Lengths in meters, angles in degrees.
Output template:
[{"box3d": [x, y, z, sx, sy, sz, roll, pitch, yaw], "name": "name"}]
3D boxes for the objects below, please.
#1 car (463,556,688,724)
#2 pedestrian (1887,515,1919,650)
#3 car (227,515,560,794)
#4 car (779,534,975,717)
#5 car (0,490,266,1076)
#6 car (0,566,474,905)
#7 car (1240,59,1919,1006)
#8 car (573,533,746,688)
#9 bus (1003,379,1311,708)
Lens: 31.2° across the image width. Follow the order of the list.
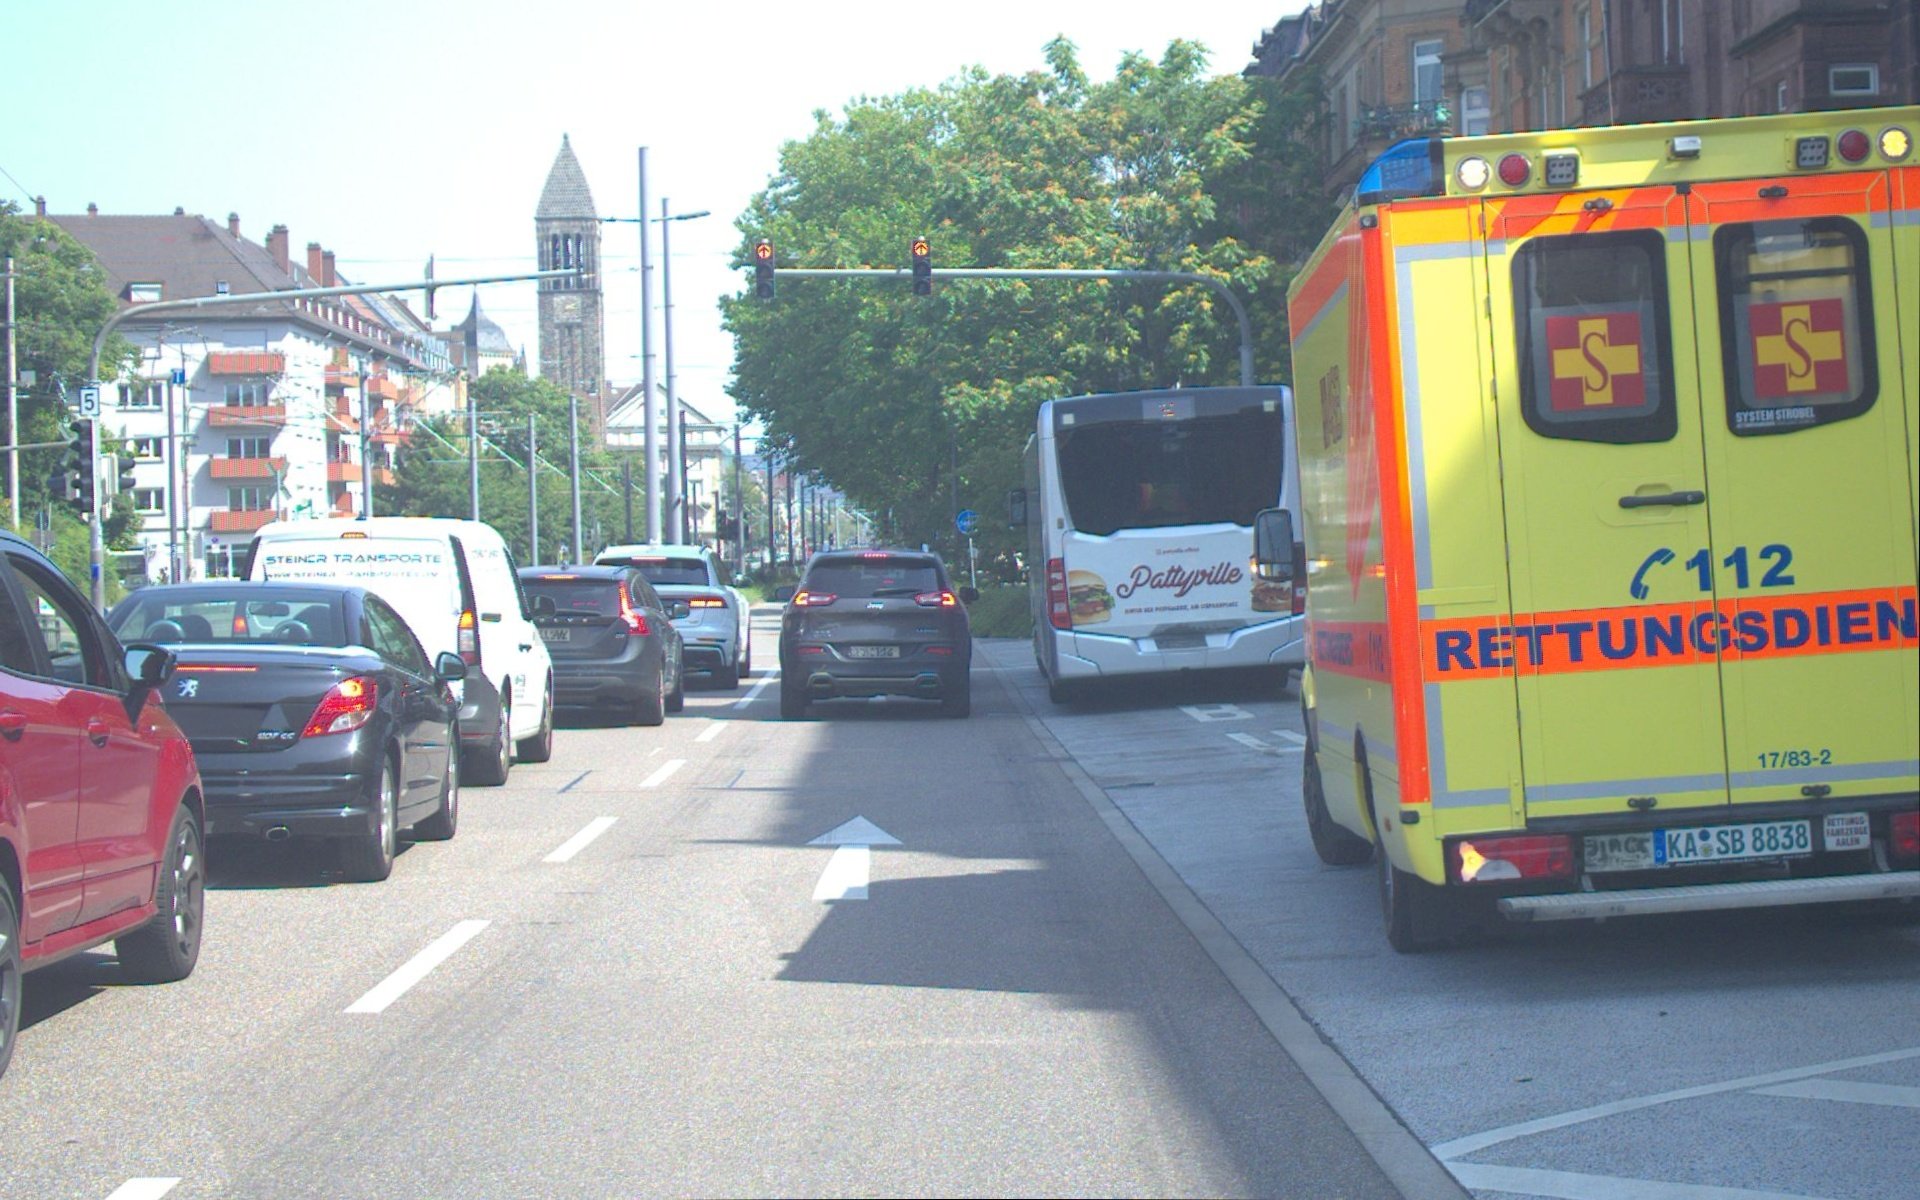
[{"box3d": [-3.584, 0.357, 32.650, 1.790, 1.467, 4.000, -1, 0, -2], "name": "car"}, {"box3d": [11.521, -0.217, 41.071, 0.622, 1.587, 0.696, -2, 1, -6], "name": "pedestrian"}, {"box3d": [-3.906, 0.354, 24.301, 1.790, 1.774, 4.000, -1, 0, -2], "name": "car"}, {"box3d": [-0.843, 0.239, 34.060, 1.790, 1.672, 4.000, -1, 0, -2], "name": "car"}, {"box3d": [-3.511, 0.522, 10.716, 1.762, 1.612, 4.082, -1, 0, 1], "name": "car"}, {"box3d": [-3.555, 0.580, 17.228, 1.790, 1.426, 4.001, -2, 1, -2], "name": "car"}, {"box3d": [2.482, -0.273, 13.528, 2.299, 2.878, 5.599, -2, 1, 1], "name": "car"}, {"box3d": [-3.496, 0.117, 40.534, 1.790, 1.692, 4.000, -1, 0, -2], "name": "car"}, {"box3d": [1.930, -0.614, 38.470, 2.534, 3.021, 12.436, -1, 1, -1], "name": "bus"}]
